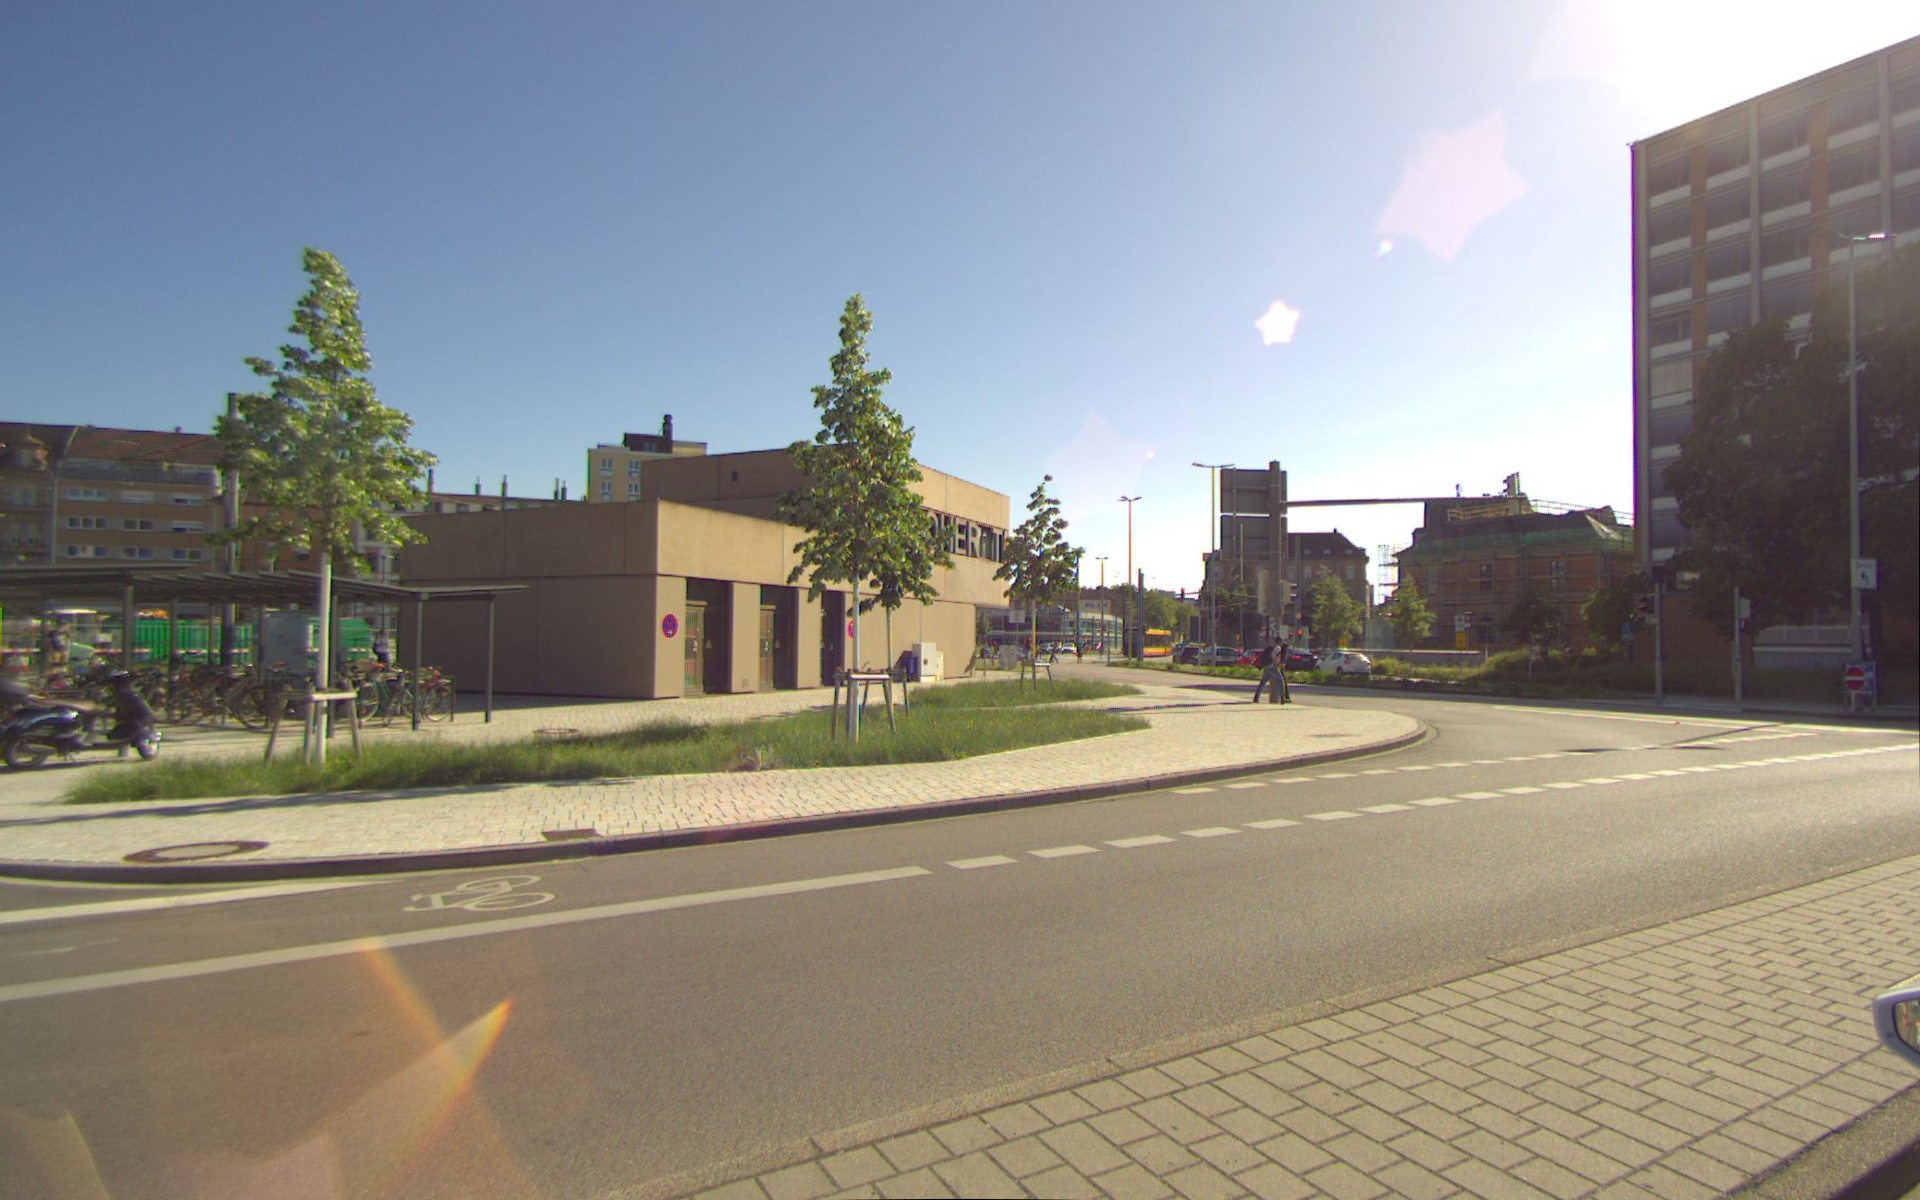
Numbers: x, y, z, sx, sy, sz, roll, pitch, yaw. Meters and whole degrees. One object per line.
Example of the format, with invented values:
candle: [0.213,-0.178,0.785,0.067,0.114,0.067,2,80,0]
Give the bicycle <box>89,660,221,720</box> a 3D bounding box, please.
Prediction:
bicycle: [-15.077,1.657,18.867,0.449,1.022,1.902,0,-2,26]

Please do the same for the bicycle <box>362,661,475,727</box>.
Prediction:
bicycle: [-9.923,1.698,18.493,0.449,1.112,1.902,0,-2,26]

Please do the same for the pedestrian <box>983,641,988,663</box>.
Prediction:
pedestrian: [2.170,4.481,86.319,0.399,1.889,0.502,0,-2,6]

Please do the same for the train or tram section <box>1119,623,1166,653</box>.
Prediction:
train or tram section: [21.915,4.502,119.982,2.651,3.275,10.589,2,0,27]

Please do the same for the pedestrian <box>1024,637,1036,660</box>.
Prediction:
pedestrian: [5.819,3.996,83.463,0.862,1.889,0.730,1,-2,-9]

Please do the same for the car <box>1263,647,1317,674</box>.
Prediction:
car: [20.586,3.767,62.791,1.760,1.528,3.880,1,-2,-6]

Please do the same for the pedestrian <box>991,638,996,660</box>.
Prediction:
pedestrian: [2.855,4.198,86.268,0.363,1.889,0.502,0,-2,6]

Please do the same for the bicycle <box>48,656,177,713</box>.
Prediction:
bicycle: [-16.696,1.640,19.841,0.449,1.022,1.902,0,-2,26]

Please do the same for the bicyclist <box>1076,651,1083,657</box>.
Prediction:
bicyclist: [10.118,4.555,84.884,0.560,0.556,0.431,0,-2,11]

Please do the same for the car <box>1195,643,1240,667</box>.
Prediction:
car: [17.468,3.694,68.272,1.760,1.528,3.880,1,-2,-6]

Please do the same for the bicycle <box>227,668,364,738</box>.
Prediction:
bicycle: [-10.906,1.664,16.573,0.449,1.022,1.902,0,-2,26]

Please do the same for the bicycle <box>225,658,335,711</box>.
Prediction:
bicycle: [-14.068,1.730,20.832,0.449,1.022,1.902,0,-2,26]

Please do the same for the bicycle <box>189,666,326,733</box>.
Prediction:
bicycle: [-11.885,1.654,17.062,0.449,1.022,1.902,0,-2,26]

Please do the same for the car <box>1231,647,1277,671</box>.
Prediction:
car: [20.216,4.032,69.251,1.760,1.528,3.880,1,-2,-6]

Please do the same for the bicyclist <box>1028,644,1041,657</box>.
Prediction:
bicyclist: [7.043,4.768,95.012,0.953,1.182,0.892,1,-2,-19]

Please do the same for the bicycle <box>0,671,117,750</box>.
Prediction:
bicycle: [-13.025,1.538,14.018,0.449,1.022,1.902,0,-2,26]

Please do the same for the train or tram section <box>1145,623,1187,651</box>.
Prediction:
train or tram section: [26.637,4.692,129.492,2.651,3.275,10.589,2,0,27]

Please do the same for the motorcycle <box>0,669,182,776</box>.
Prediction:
motorcycle: [-10.916,1.477,12.473,0.508,1.166,1.947,0,-2,25]

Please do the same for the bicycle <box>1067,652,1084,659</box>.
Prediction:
bicycle: [9.747,4.686,84.949,1.381,0.556,0.435,0,-2,11]

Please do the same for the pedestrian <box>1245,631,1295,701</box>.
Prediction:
pedestrian: [7.886,1.661,25.550,1.044,1.753,0.652,1,-2,-16]

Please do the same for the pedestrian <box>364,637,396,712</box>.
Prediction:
pedestrian: [-16.079,2.043,27.846,0.710,2.040,0.682,1,-2,-30]

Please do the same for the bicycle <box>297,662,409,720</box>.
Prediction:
bicycle: [-11.793,1.745,19.579,0.449,1.022,1.902,0,-2,26]

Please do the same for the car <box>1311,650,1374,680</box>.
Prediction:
car: [21.259,3.593,55.935,1.760,1.528,3.880,1,-2,-6]

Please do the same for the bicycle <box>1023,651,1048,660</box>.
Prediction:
bicycle: [7.151,5.261,95.037,2.207,0.894,0.892,1,-2,-19]

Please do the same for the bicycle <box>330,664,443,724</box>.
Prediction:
bicycle: [-10.703,1.736,18.822,0.449,1.022,1.902,0,-2,26]

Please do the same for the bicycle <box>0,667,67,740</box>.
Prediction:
bicycle: [-14.155,1.510,14.449,0.449,1.022,1.902,0,-2,26]

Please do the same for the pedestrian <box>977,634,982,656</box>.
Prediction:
pedestrian: [1.660,3.845,86.331,0.400,1.889,0.502,1,-2,0]

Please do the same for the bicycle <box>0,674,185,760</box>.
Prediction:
bicycle: [-11.811,1.558,13.726,0.449,1.022,1.902,0,-2,26]

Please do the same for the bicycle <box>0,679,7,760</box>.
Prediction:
bicycle: [-12.741,1.486,12.006,0.449,1.022,1.902,0,-2,26]

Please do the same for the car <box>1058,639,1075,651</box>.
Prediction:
car: [15.038,6.375,141.604,1.709,1.672,4.002,0,-2,17]

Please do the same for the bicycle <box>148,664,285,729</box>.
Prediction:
bicycle: [-12.894,1.650,17.492,0.449,1.022,1.902,0,-2,26]

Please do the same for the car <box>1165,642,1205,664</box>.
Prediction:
car: [16.787,3.929,74.999,1.760,1.528,3.880,1,-2,-6]

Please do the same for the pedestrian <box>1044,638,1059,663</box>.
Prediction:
pedestrian: [7.439,4.091,81.780,1.023,2.040,0.724,1,-2,-9]

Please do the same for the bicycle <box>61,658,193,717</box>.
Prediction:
bicycle: [-15.913,1.645,19.243,0.449,1.022,1.902,0,-2,26]
